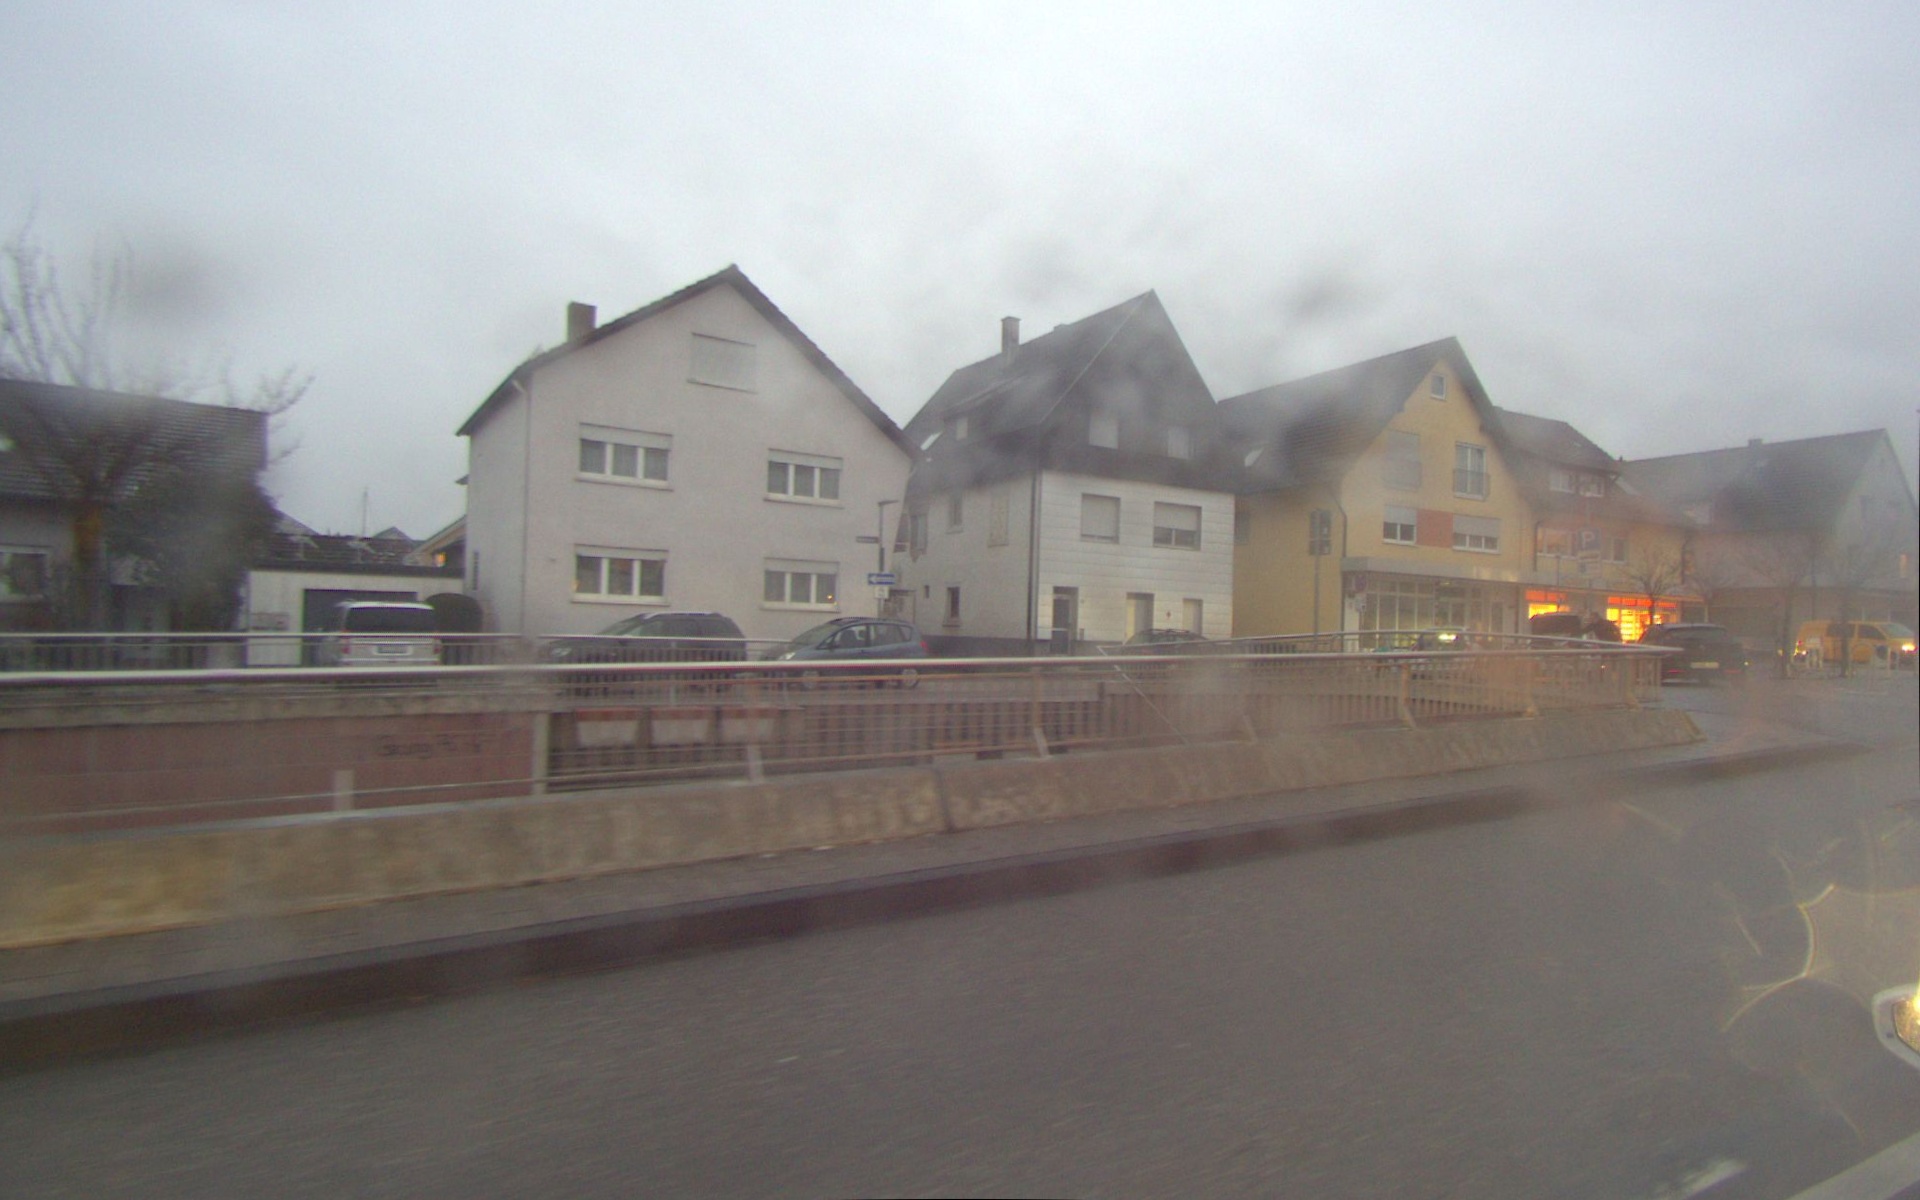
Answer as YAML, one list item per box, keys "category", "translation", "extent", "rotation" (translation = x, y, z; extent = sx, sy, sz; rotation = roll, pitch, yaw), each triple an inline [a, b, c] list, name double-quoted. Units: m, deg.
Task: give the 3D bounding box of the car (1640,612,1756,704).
- category: "car"
  translation: [17.271, 1.300, 23.680]
  extent: [2.010, 1.951, 4.045]
  rotation: [0, -1, 34]

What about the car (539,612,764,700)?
- category: "car"
  translation: [-6.490, 1.129, 21.301]
  extent: [4.176, 1.705, 1.898]
  rotation: [1, -1, -36]

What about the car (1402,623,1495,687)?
- category: "car"
  translation: [13.606, 1.464, 27.884]
  extent: [1.797, 1.634, 4.045]
  rotation: [0, -1, 34]

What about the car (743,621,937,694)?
- category: "car"
  translation: [-2.810, 1.308, 23.787]
  extent: [4.171, 1.583, 1.900]
  rotation: [1, -1, -32]

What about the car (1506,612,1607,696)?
- category: "car"
  translation: [15.154, 1.300, 25.428]
  extent: [2.010, 1.951, 4.045]
  rotation: [0, -1, 34]

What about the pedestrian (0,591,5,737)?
- category: "pedestrian"
  translation: [-12.012, 0.785, 11.789]
  extent: [0.963, 1.808, 0.922]
  rotation: [2, 0, -33]

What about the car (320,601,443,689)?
- category: "car"
  translation: [-12.609, 0.949, 21.781]
  extent: [1.847, 1.716, 3.958]
  rotation: [1, -2, -37]

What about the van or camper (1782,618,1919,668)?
- category: "van or camper"
  translation: [38.465, 1.762, 42.596]
  extent: [1.967, 1.980, 5.532]
  rotation: [1, -1, -15]

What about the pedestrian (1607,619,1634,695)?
- category: "pedestrian"
  translation: [15.425, 1.323, 23.452]
  extent: [0.489, 1.724, 0.711]
  rotation: [-2, -2, 34]

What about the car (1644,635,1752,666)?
- category: "car"
  translation: [36.442, 2.456, 49.682]
  extent: [1.708, 1.383, 3.965]
  rotation: [1, -1, -32]
